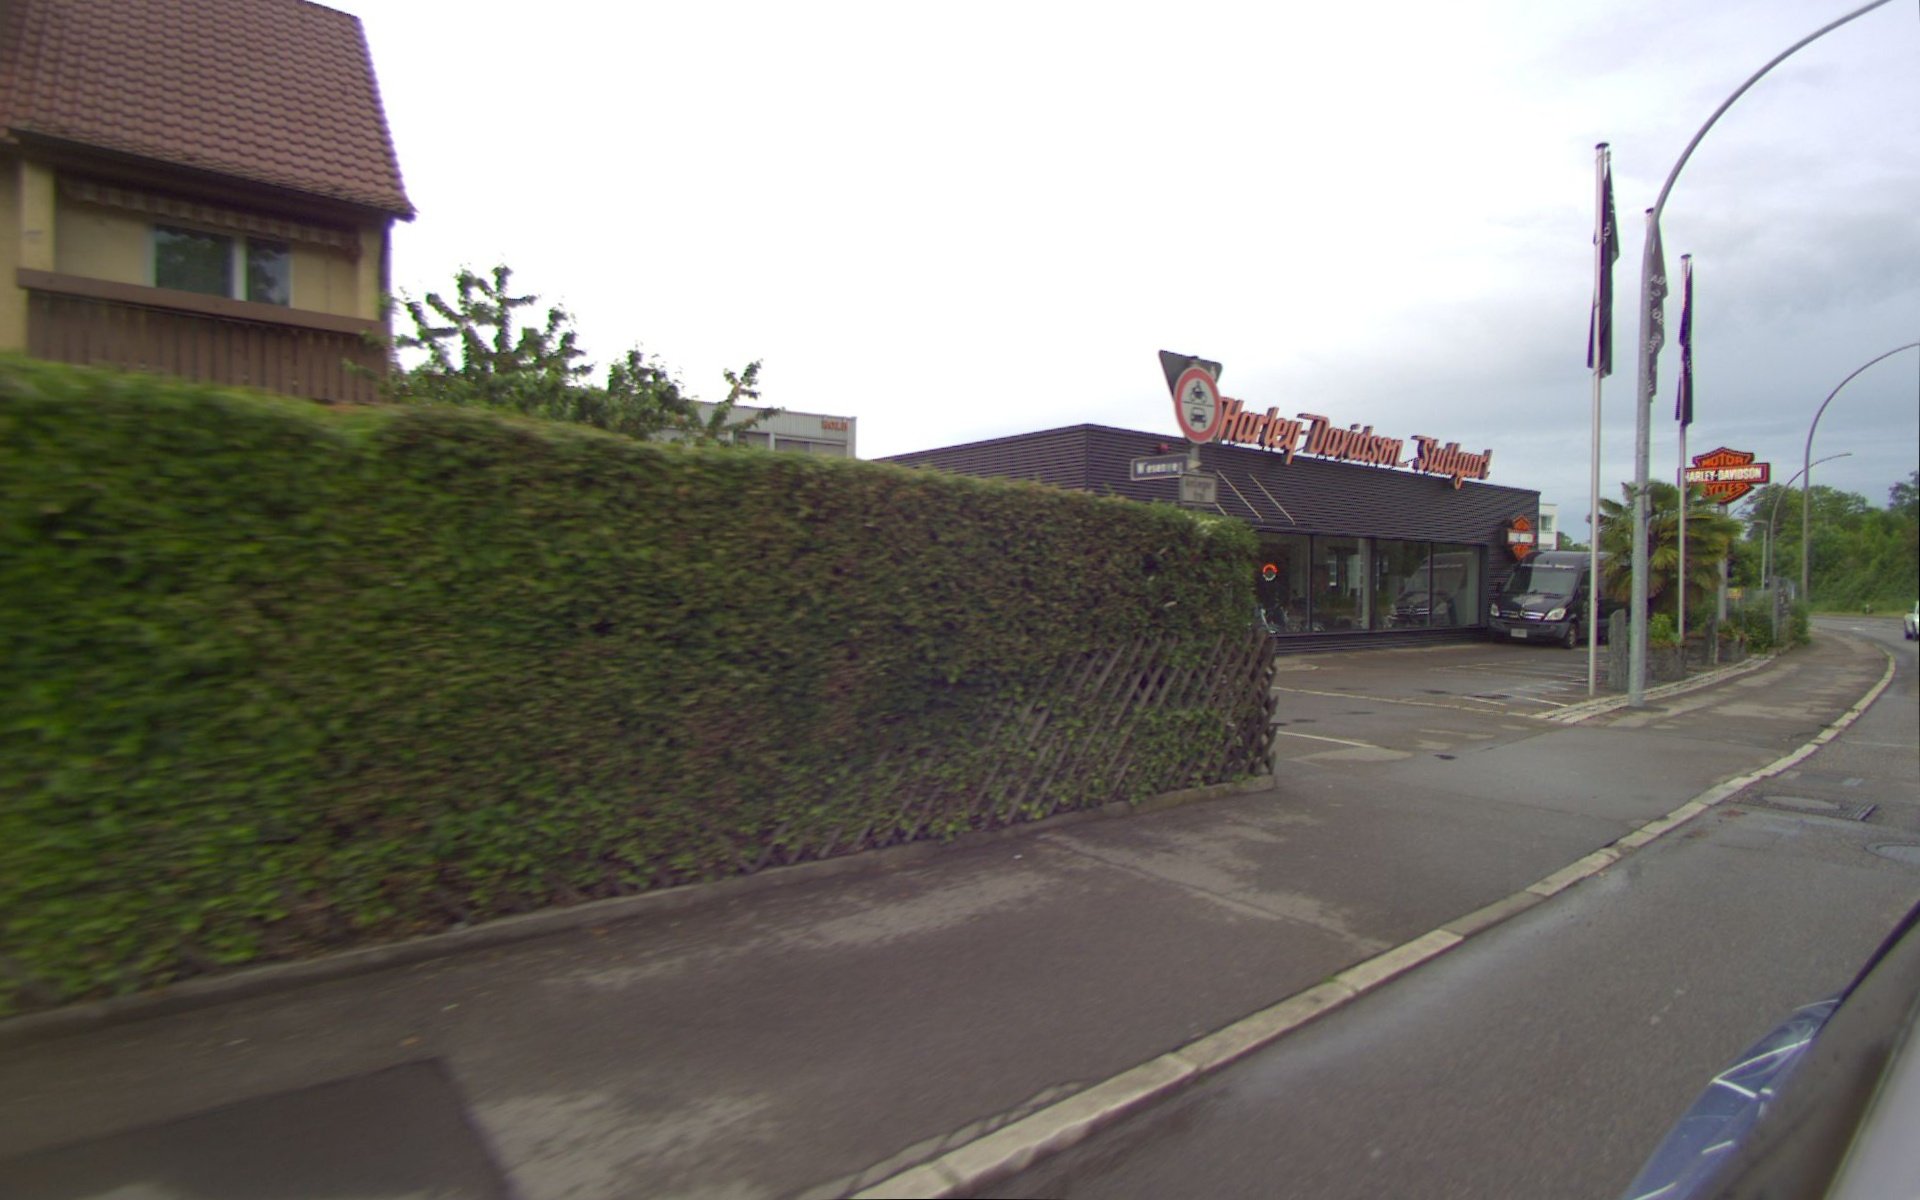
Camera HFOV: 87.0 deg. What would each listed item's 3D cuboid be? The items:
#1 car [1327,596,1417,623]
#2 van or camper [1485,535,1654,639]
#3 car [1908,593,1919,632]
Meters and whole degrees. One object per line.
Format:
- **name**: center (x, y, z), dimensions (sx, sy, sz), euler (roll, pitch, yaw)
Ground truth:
- **car**: center (23.633, 0.583, 58.236), dimensions (1.687, 1.418, 4.652), euler (-3, 0, -33)
- **van or camper**: center (17.227, -0.338, 28.413), dimensions (6.472, 2.626, 2.045), euler (0, 1, -40)
- **car**: center (40.737, 0.542, 41.534), dimensions (1.834, 1.594, 3.785), euler (1, 1, 30)
